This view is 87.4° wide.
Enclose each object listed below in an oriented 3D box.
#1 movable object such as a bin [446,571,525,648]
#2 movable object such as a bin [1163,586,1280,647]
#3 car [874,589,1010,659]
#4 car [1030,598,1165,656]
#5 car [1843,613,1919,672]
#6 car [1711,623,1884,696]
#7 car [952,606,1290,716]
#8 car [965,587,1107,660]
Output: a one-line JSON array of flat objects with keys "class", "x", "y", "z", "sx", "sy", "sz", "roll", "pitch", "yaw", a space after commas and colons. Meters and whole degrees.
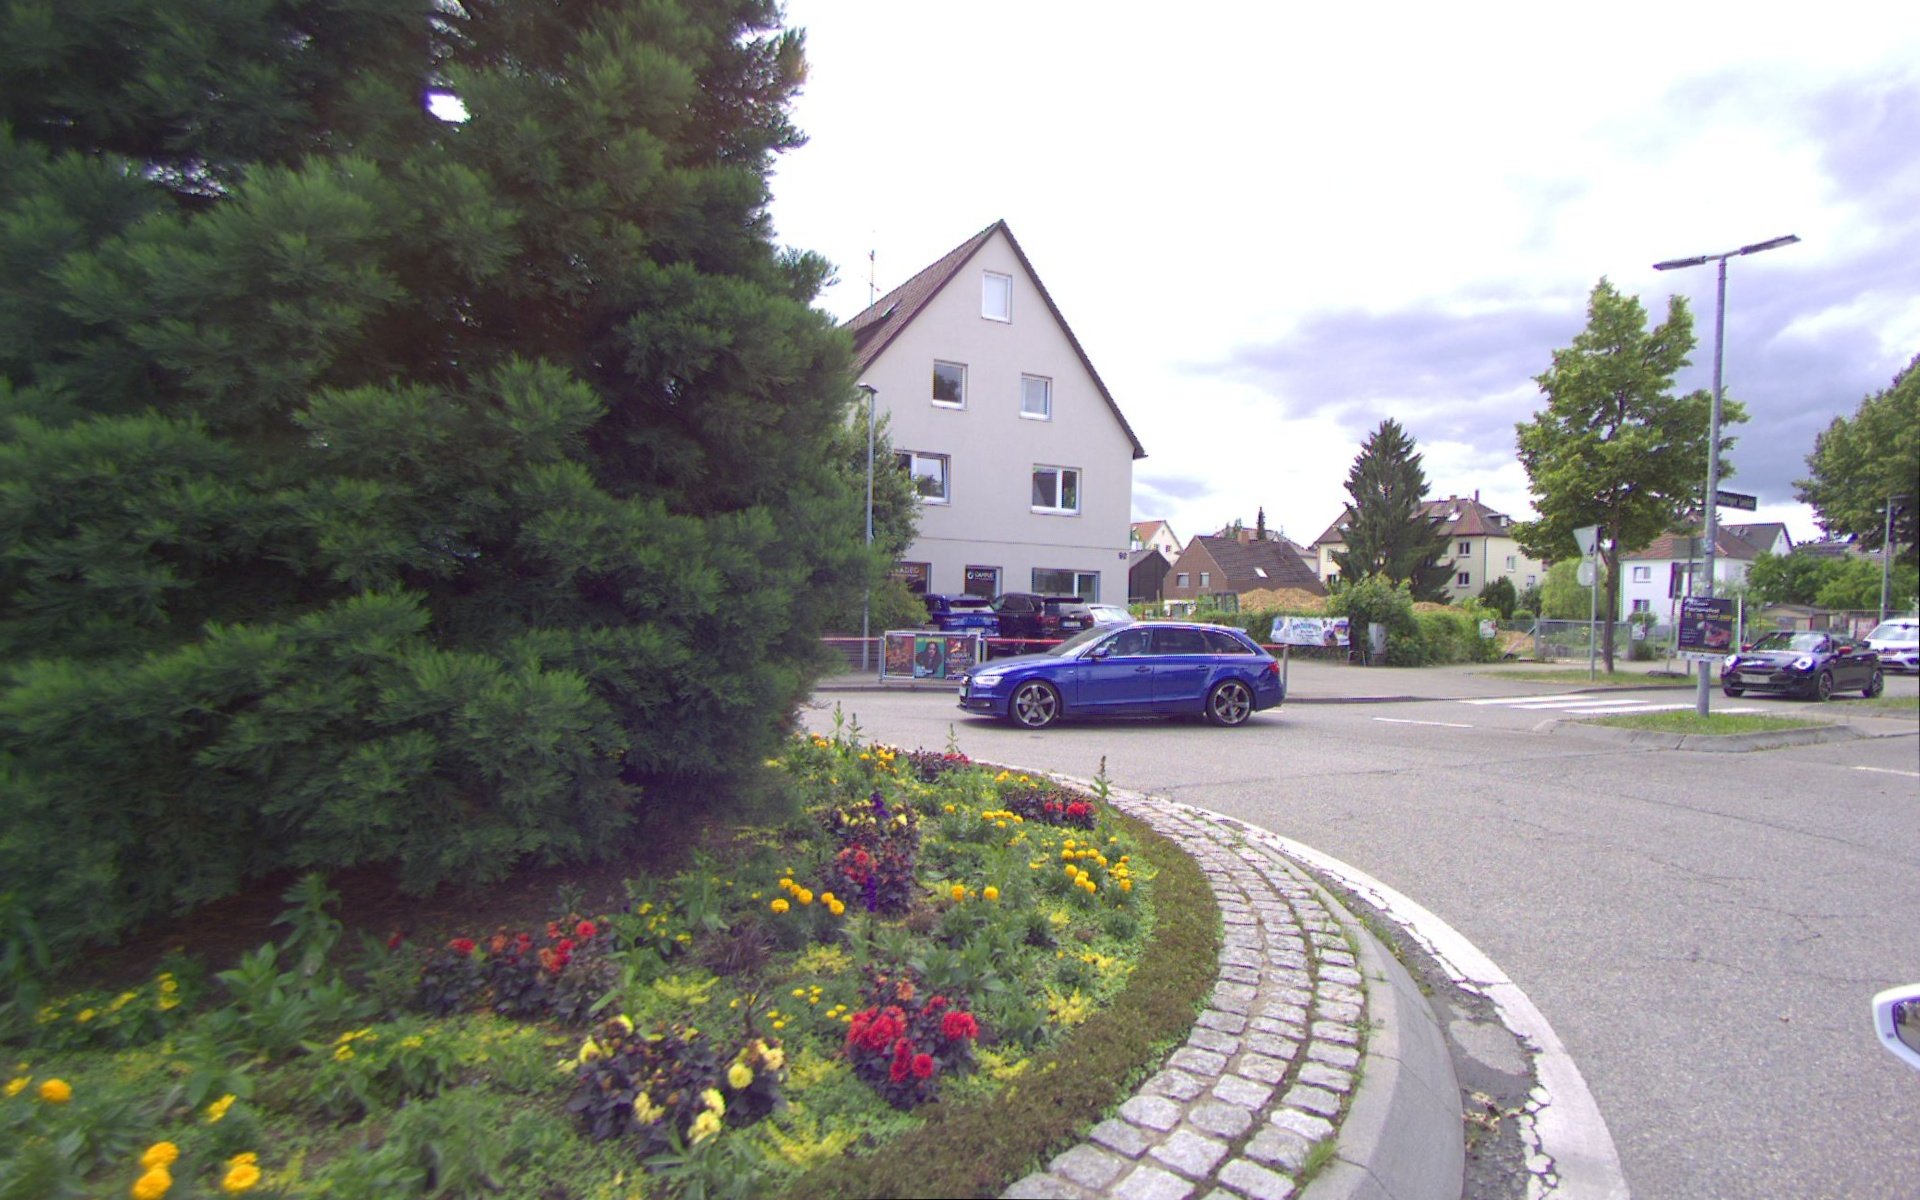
[{"class": "movable object such as a bin", "x": -19.236, "y": 0.378, "z": 40.661, "sx": 2.647, "sy": 2.954, "sz": 3.671, "roll": 1, "pitch": 0, "yaw": -29}, {"class": "movable object such as a bin", "x": 9.914, "y": 0.628, "z": 38.017, "sx": 4.315, "sy": 2.217, "sz": 1.885, "roll": 1, "pitch": 0, "yaw": -33}, {"class": "car", "x": -0.534, "y": 0.566, "z": 25.586, "sx": 1.798, "sy": 1.556, "sz": 3.900, "roll": 2, "pitch": 0, "yaw": -29}, {"class": "car", "x": 3.762, "y": 0.715, "z": 28.052, "sx": 1.726, "sy": 1.421, "sz": 3.900, "roll": 1, "pitch": 1, "yaw": -29}, {"class": "car", "x": 30.982, "y": 1.351, "z": 32.848, "sx": 4.495, "sy": 1.794, "sz": 1.763, "roll": 1, "pitch": 0, "yaw": -29}, {"class": "car", "x": 17.598, "y": 1.206, "z": 21.085, "sx": 3.697, "sy": 1.380, "sz": 1.566, "roll": 1, "pitch": 0, "yaw": -29}, {"class": "car", "x": 2.216, "y": 0.856, "z": 14.149, "sx": 4.428, "sy": 1.390, "sz": 1.611, "roll": 2, "pitch": -2, "yaw": -12}, {"class": "car", "x": 1.913, "y": 0.575, "z": 26.384, "sx": 1.833, "sy": 1.684, "sz": 3.900, "roll": 3, "pitch": 0, "yaw": -29}]
